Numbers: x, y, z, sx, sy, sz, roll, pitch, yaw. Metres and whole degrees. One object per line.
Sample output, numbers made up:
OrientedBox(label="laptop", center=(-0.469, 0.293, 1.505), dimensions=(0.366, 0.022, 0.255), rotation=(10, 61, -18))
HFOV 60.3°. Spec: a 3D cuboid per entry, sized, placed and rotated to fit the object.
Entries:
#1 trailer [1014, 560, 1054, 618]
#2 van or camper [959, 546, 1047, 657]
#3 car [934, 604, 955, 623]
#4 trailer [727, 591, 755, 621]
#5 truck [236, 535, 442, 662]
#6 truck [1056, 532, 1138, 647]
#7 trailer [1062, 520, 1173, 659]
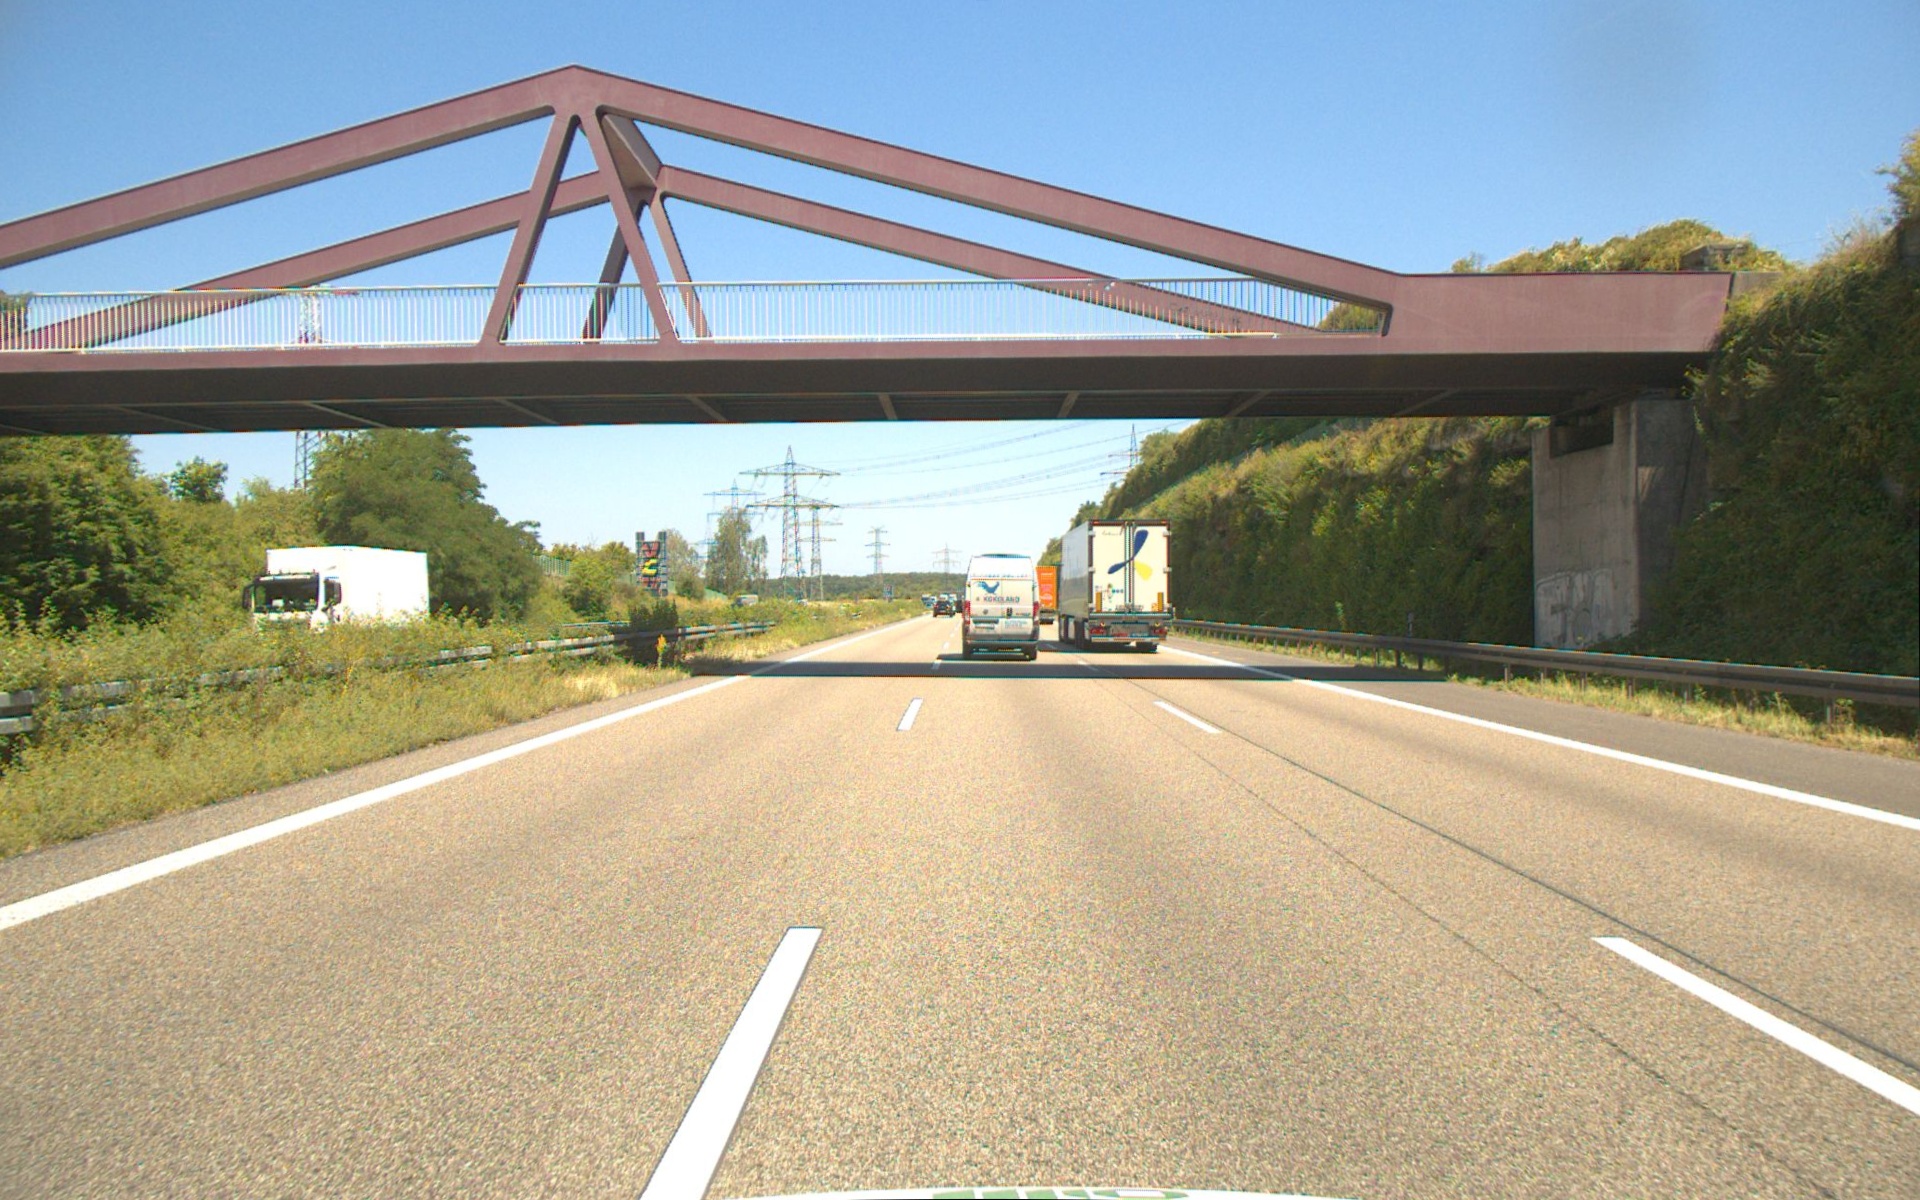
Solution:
OrientedBox(label="trailer", center=(5.324, -0.787, 120.148), dimensions=(2.583, 3.965, 7.068), rotation=(1, 0, 0))
OrientedBox(label="van or camper", center=(1.109, 0.029, 45.372), dimensions=(2.185, 2.831, 5.422), rotation=(1, 0, -1))
OrientedBox(label="car", center=(-1.595, 1.336, 166.559), dimensions=(1.941, 1.849, 3.813), rotation=(1, 0, 1))
OrientedBox(label="trailer", center=(-19.700, 0.517, 149.077), dimensions=(1.763, 2.664, 4.408), rotation=(1, 0, 2))
OrientedBox(label="truck", center=(-19.640, -0.068, 53.152), dimensions=(2.751, 3.599, 10.187), rotation=(-2, 0, -1))
OrientedBox(label="truck", center=(5.186, -0.391, 63.464), dimensions=(2.583, 4.131, 5.800), rotation=(1, 0, 0))
OrientedBox(label="trailer", center=(5.153, -0.337, 56.293), dimensions=(2.583, 4.131, 12.366), rotation=(1, 0, 0))
